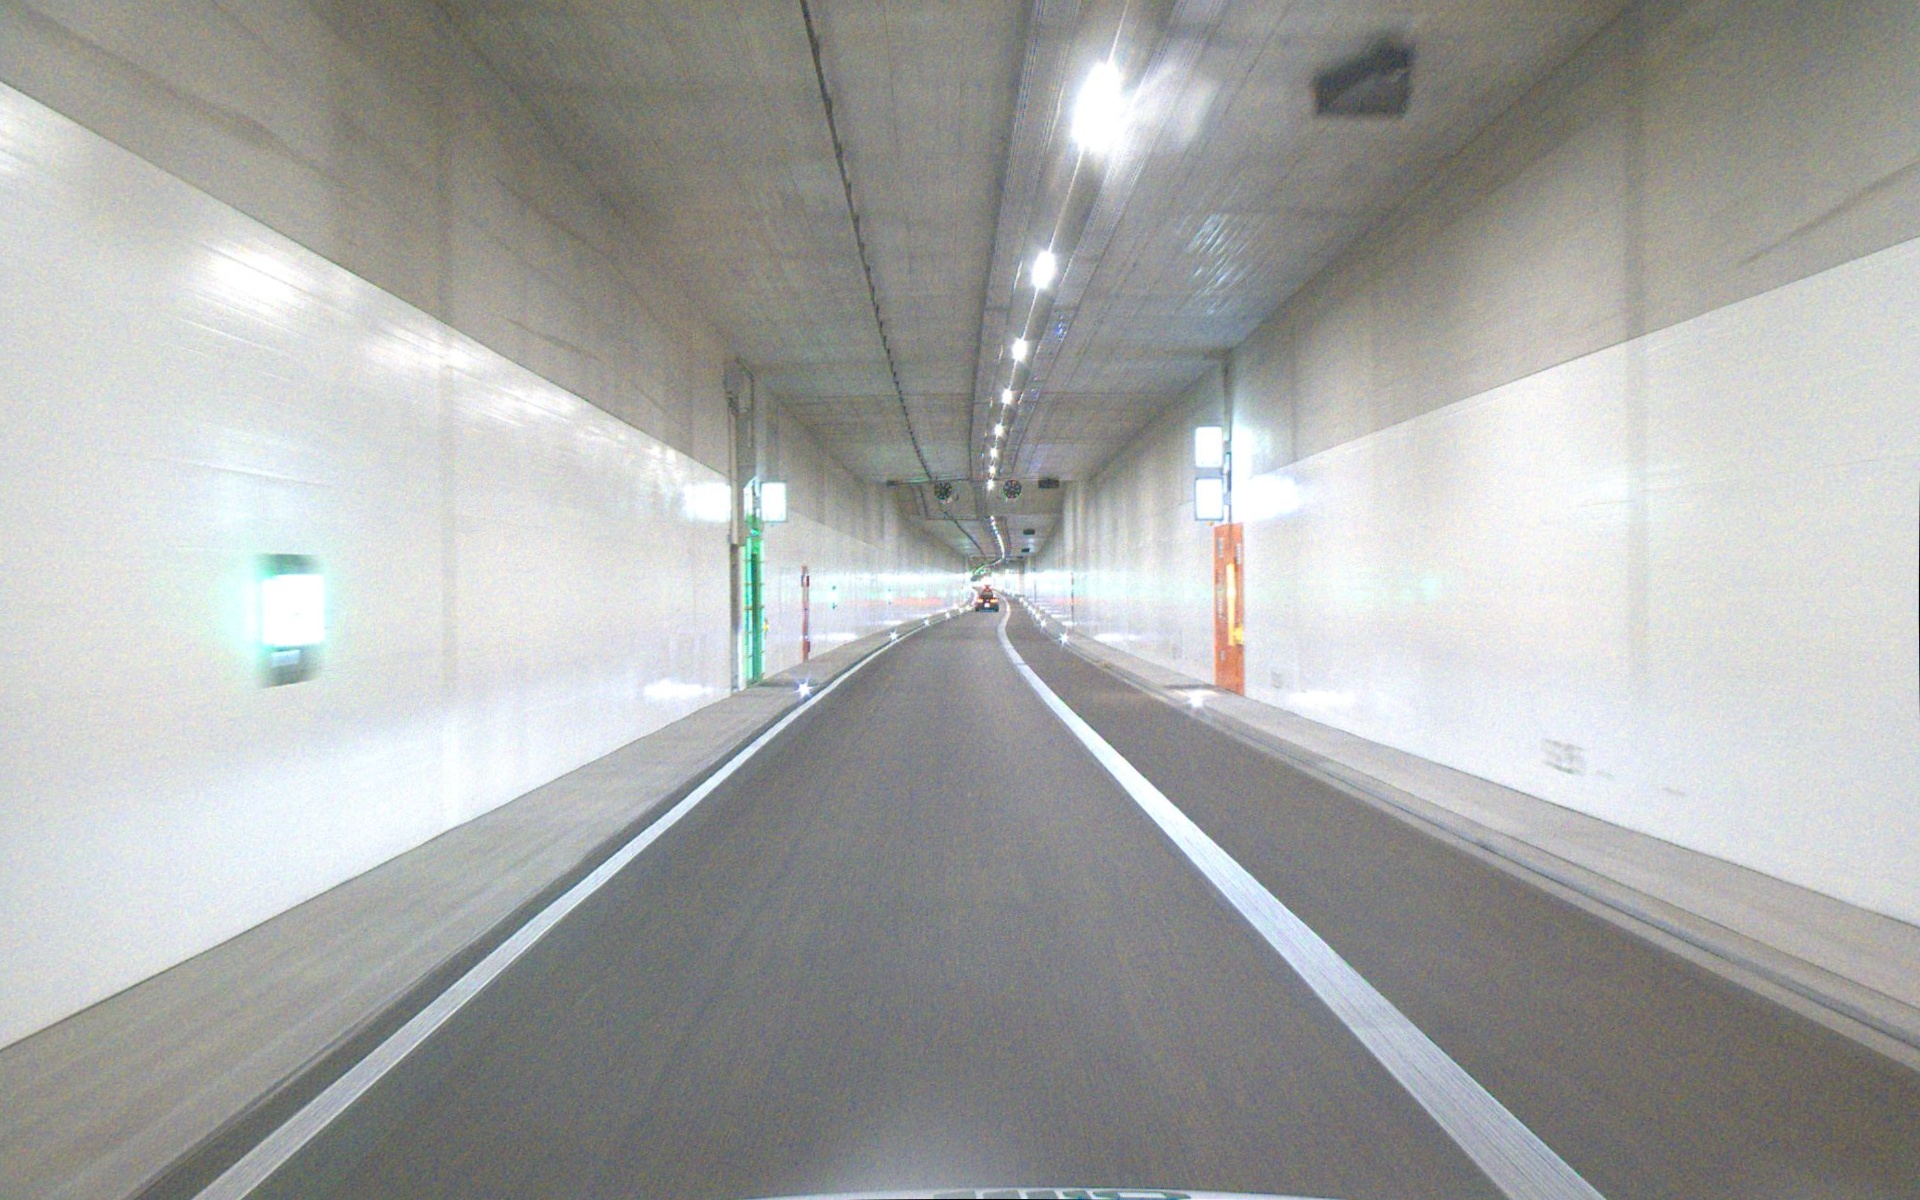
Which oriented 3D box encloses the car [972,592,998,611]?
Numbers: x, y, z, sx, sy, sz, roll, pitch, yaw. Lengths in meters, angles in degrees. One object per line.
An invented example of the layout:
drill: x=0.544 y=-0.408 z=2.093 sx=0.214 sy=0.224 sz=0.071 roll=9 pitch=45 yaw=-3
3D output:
car: x=1.968 y=0.099 z=131.267 sx=1.953 sy=1.445 sz=3.999 roll=1 pitch=0 yaw=-1
